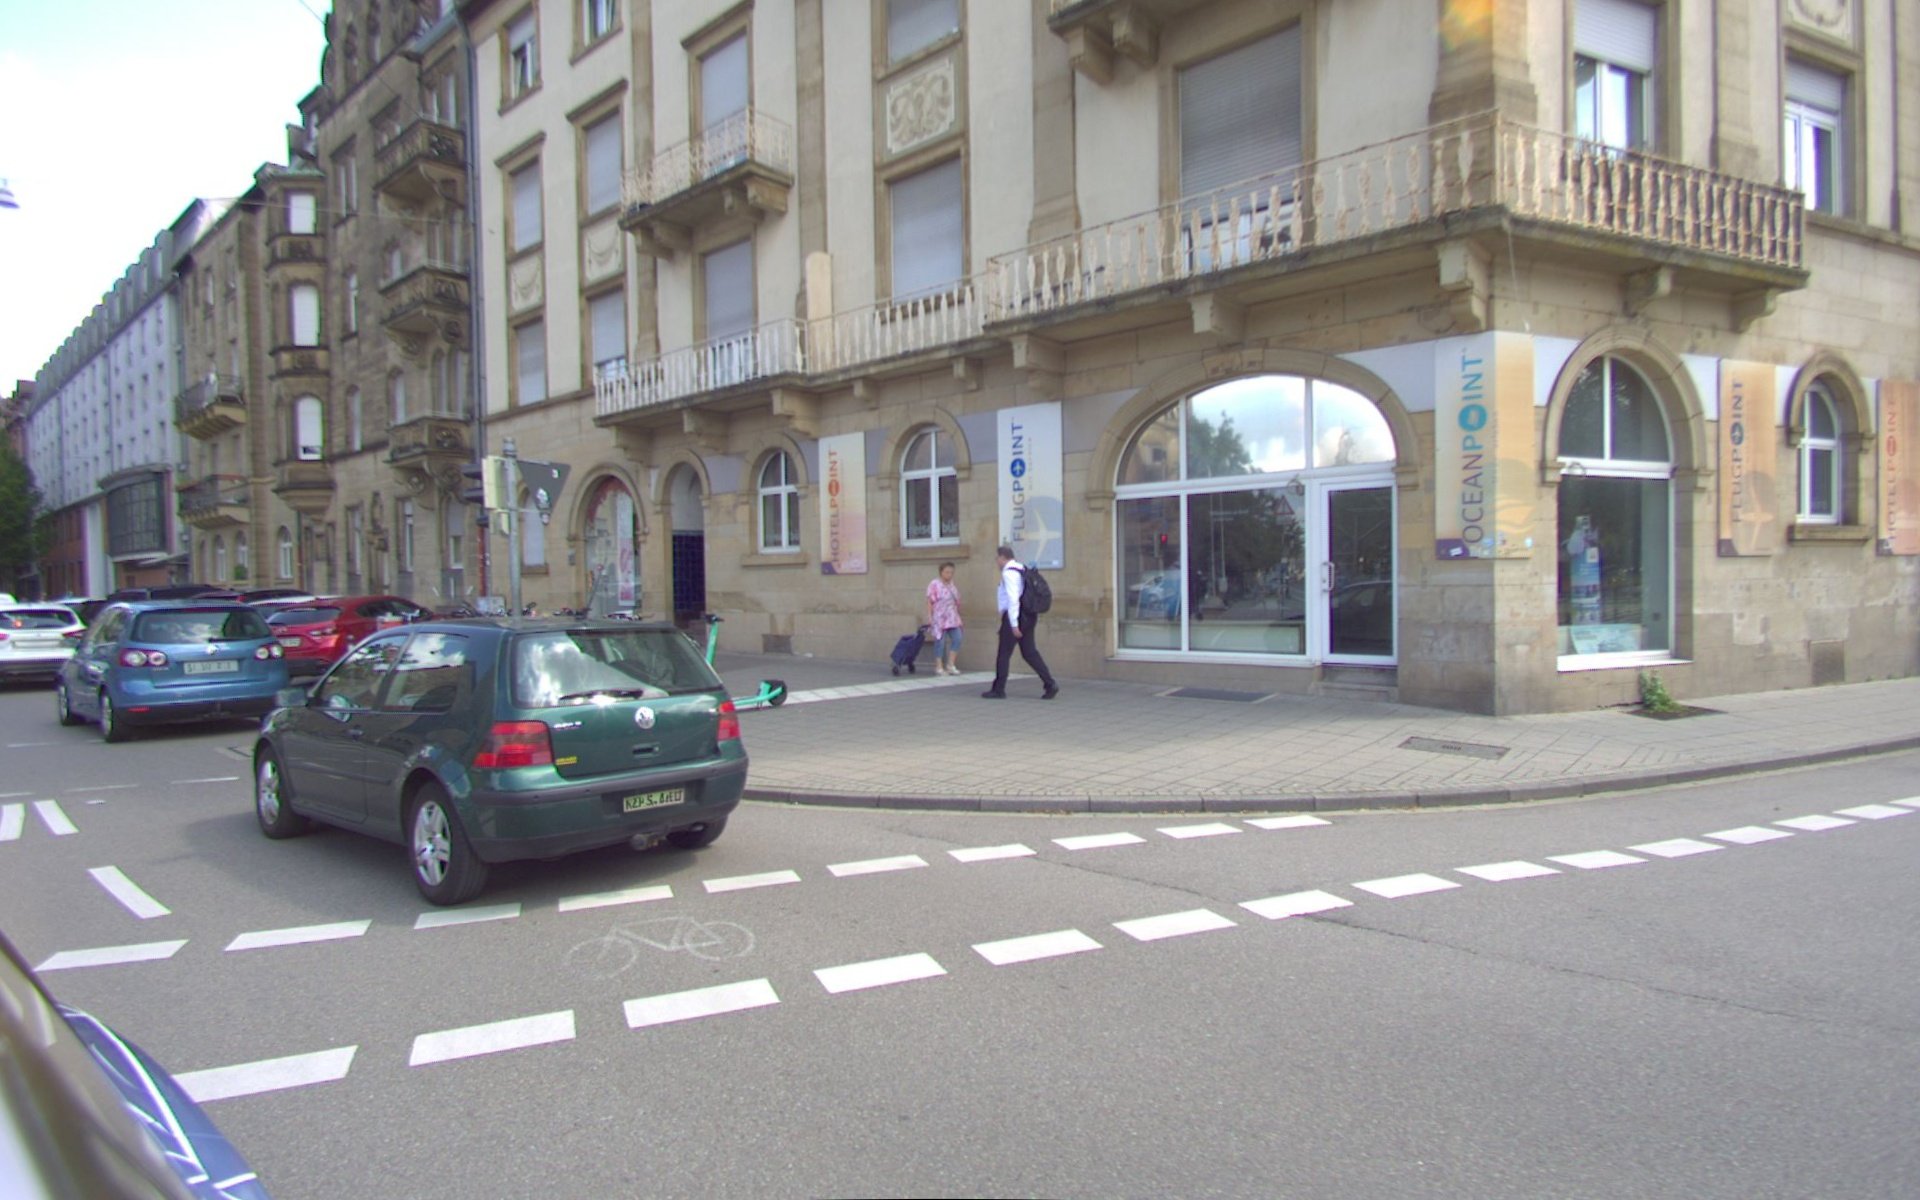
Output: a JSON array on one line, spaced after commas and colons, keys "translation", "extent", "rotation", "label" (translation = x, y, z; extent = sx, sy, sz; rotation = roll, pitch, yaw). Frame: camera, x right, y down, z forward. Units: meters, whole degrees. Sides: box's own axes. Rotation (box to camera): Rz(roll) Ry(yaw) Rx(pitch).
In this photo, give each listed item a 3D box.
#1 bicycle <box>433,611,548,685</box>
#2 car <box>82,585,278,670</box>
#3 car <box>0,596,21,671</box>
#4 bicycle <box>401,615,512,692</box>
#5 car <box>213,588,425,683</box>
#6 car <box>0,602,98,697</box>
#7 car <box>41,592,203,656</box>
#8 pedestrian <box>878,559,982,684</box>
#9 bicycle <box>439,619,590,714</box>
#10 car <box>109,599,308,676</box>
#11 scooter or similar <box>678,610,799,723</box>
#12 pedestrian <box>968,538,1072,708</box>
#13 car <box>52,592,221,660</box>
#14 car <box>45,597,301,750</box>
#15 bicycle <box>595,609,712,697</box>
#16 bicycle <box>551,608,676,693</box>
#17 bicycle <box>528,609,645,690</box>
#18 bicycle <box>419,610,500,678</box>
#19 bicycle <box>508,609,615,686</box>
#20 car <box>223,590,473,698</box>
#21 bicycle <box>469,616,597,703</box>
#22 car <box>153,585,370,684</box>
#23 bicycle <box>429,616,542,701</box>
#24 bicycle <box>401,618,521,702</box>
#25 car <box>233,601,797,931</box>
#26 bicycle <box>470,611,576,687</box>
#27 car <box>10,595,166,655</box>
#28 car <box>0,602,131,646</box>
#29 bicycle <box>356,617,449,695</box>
[{"translation": [-7.820, 0.772, 16.902], "extent": [0.557, 1.059, 1.610], "rotation": [-1, 3, 40], "label": "bicycle"}, {"translation": [-20.328, 0.636, 26.602], "extent": [1.711, 1.881, 3.946], "rotation": [-2, 3, 8], "label": "car"}, {"translation": [-24.683, 0.851, 24.967], "extent": [4.281, 1.789, 1.793], "rotation": [-2, -1, 41], "label": "car"}, {"translation": [-7.885, 0.816, 15.894], "extent": [0.462, 1.059, 1.465], "rotation": [-1, 2, 38], "label": "bicycle"}, {"translation": [-12.901, 0.638, 20.700], "extent": [1.707, 1.467, 3.955], "rotation": [-4, 3, 0], "label": "car"}, {"translation": [-17.596, 0.893, 18.825], "extent": [4.017, 1.594, 1.752], "rotation": [-2, 0, 40], "label": "car"}, {"translation": [-26.800, 0.711, 32.558], "extent": [1.708, 1.596, 3.953], "rotation": [-3, 4, 2], "label": "car"}, {"translation": [-0.418, 0.280, 14.106], "extent": [0.996, 1.606, 0.931], "rotation": [-1, 5, 42], "label": "pedestrian"}, {"translation": [-5.882, 0.854, 13.407], "extent": [1.707, 1.059, 0.532], "rotation": [-4, 3, -32], "label": "bicycle"}, {"translation": [-18.208, 0.854, 24.779], "extent": [1.709, 1.439, 3.951], "rotation": [-4, 3, 4], "label": "car"}, {"translation": [-2.557, 0.746, 11.715], "extent": [1.232, 1.154, 0.482], "rotation": [-4, 3, -31], "label": "scooter or similar"}, {"translation": [0.693, 0.219, 11.698], "extent": [0.905, 1.873, 0.794], "rotation": [3, 4, 41], "label": "pedestrian"}, {"translation": [-24.713, 0.718, 30.579], "extent": [1.708, 1.597, 3.953], "rotation": [-3, 4, 2], "label": "car"}, {"translation": [-9.739, 0.769, 12.419], "extent": [3.929, 1.552, 1.729], "rotation": [-1, 1, 41], "label": "car"}, {"translation": [-4.210, 0.706, 13.961], "extent": [1.420, 1.059, 0.481], "rotation": [-5, 3, -39], "label": "bicycle"}, {"translation": [-5.004, 0.702, 14.681], "extent": [1.589, 1.059, 0.481], "rotation": [-5, 3, -41], "label": "bicycle"}, {"translation": [-5.686, 0.731, 15.461], "extent": [1.558, 1.059, 0.481], "rotation": [-5, 3, -41], "label": "bicycle"}, {"translation": [-9.017, 0.765, 18.321], "extent": [0.550, 1.059, 1.906], "rotation": [-3, 2, -3], "label": "bicycle"}, {"translation": [-6.261, 0.725, 15.955], "extent": [0.462, 1.059, 1.464], "rotation": [-1, 3, 42], "label": "bicycle"}, {"translation": [-10.672, 0.688, 18.045], "extent": [1.789, 1.467, 3.997], "rotation": [-3, 3, 4], "label": "car"}, {"translation": [-6.053, 0.817, 14.388], "extent": [1.558, 1.059, 0.481], "rotation": [-5, 3, -41], "label": "bicycle"}, {"translation": [-15.021, 0.665, 22.058], "extent": [1.779, 1.702, 3.953], "rotation": [-4, 3, 2], "label": "car"}, {"translation": [-6.826, 0.822, 14.608], "extent": [0.417, 1.059, 1.355], "rotation": [-1, 3, 40], "label": "bicycle"}, {"translation": [-7.299, 0.851, 14.854], "extent": [0.462, 1.059, 1.464], "rotation": [-1, 3, 42], "label": "bicycle"}, {"translation": [-2.938, 0.783, 6.319], "extent": [3.814, 1.444, 1.696], "rotation": [-2, -2, 40], "label": "car"}, {"translation": [-6.960, 0.757, 16.169], "extent": [0.462, 1.059, 1.465], "rotation": [-1, 3, 38], "label": "bicycle"}, {"translation": [-29.499, 0.786, 34.414], "extent": [1.708, 1.597, 3.953], "rotation": [-4, 3, 2], "label": "car"}, {"translation": [-33.818, 0.877, 38.218], "extent": [1.708, 1.485, 3.952], "rotation": [-1, 1, 2], "label": "car"}, {"translation": [-8.856, 0.856, 16.157], "extent": [0.549, 1.059, 1.814], "rotation": [-3, 2, -4], "label": "bicycle"}]
